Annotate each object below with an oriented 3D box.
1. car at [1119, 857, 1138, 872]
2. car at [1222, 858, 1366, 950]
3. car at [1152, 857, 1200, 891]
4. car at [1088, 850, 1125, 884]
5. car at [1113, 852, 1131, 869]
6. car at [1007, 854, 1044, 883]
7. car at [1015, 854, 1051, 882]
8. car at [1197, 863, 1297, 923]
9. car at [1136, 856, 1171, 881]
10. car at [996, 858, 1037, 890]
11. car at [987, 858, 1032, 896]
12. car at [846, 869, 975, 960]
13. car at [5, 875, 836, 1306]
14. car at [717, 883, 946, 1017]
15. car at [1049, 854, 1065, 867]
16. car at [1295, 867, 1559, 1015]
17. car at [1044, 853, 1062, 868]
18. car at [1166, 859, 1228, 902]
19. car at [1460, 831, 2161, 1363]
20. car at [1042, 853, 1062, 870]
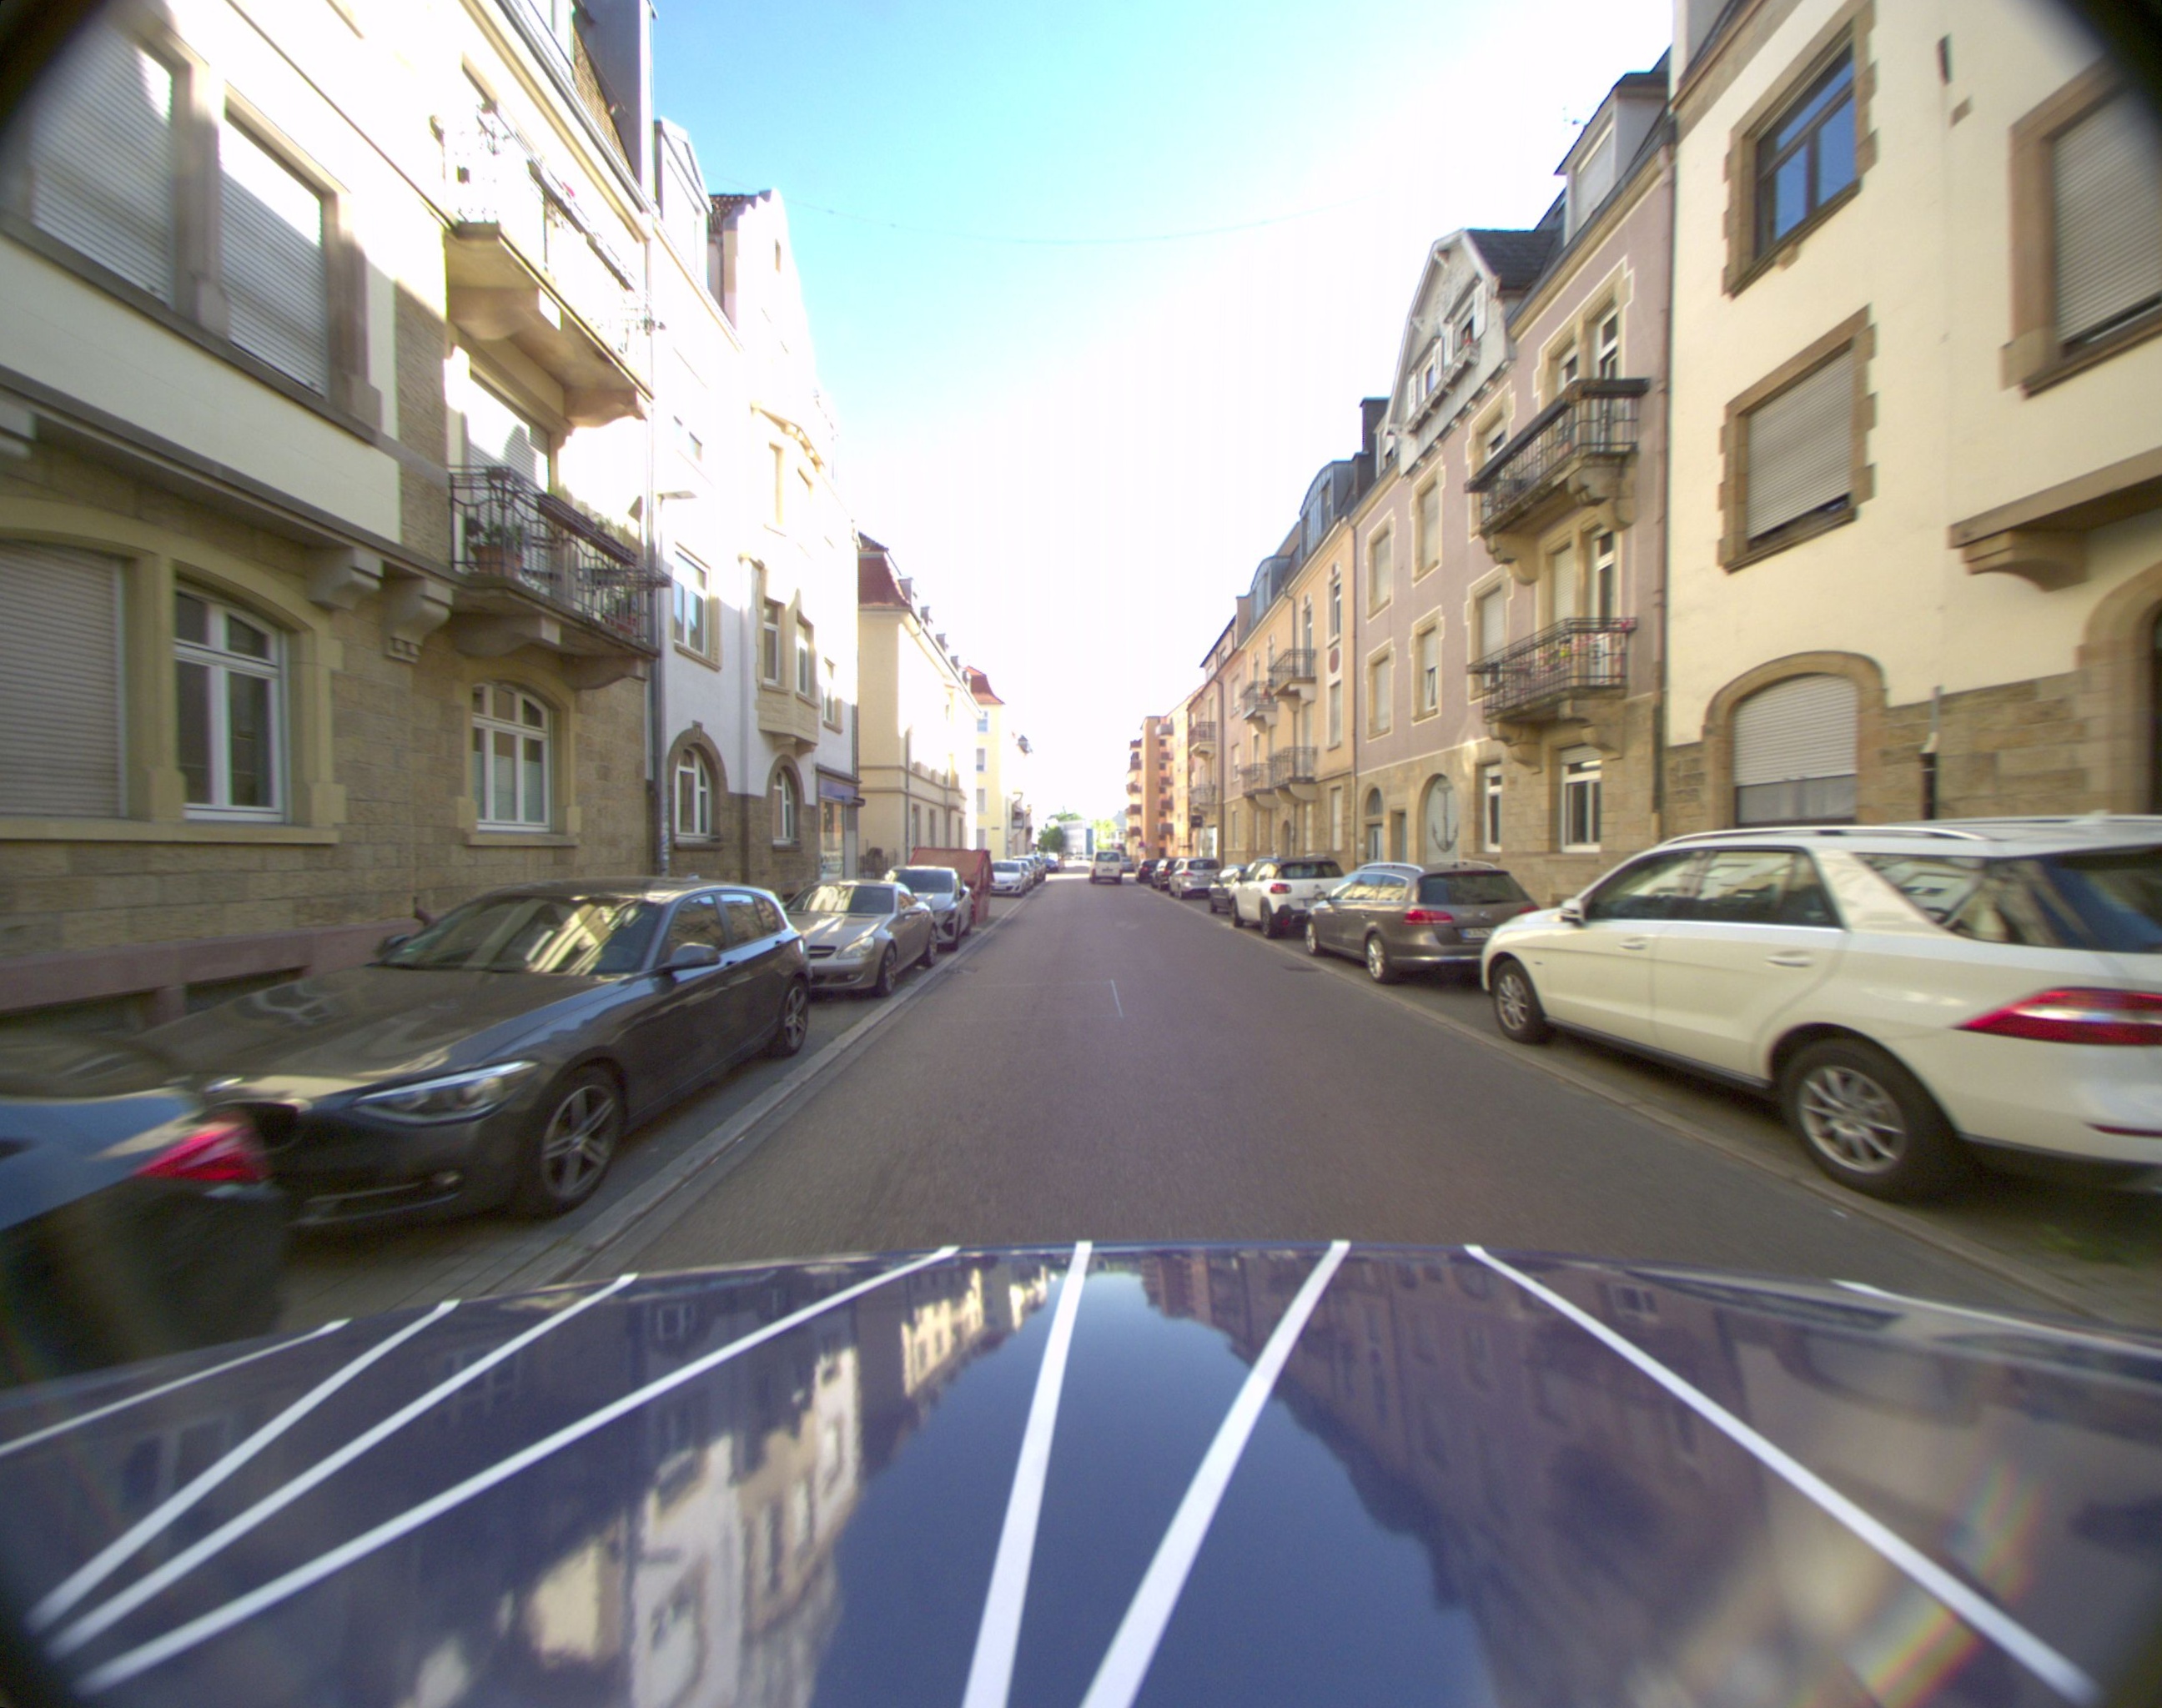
[{"bbox_3d":[4.649,1.017,74.881,1.678,1.414,3.500,0,0,0],"label":"car"},{"bbox_3d":[4.293,0.930,16.009,1.719,1.574,4.020,-3,0,-2],"label":"car"},{"bbox_3d":[4.485,0.904,36.281,1.719,1.512,4.109,0,0,-1],"label":"car"},{"bbox_3d":[1.467,0.731,45.497,1.868,1.925,4.598,0,0,-3],"label":"car"},{"bbox_3d":[4.588,0.754,85.991,1.822,1.867,4.111,0,0,0],"label":"car"},{"bbox_3d":[-3.112,0.802,43.043,1.684,1.537,3.915,1,0,2],"label":"car"},{"bbox_3d":[-2.955,0.852,47.475,1.791,1.655,4.434,0,0,2],"label":"car"},{"bbox_3d":[4.519,1.014,21.162,1.677,1.385,3.665,-3,0,-4],"label":"car"},{"bbox_3d":[4.405,0.859,46.569,1.719,1.378,3.864,-3,0,1],"label":"car"},{"bbox_3d":[-3.072,0.917,36.973,1.657,1.455,4.094,0,0,0],"label":"car"},{"bbox_3d":[-2.921,0.908,31.584,1.590,1.456,3.711,0,0,-2],"label":"car"},{"bbox_3d":[-3.073,1.031,14.424,1.791,1.421,3.806,0,0,-3],"label":"car"},{"bbox_3d":[-3.065,0.919,4.876,1.655,1.434,4.258,1,0,-1],"label":"car"},{"bbox_3d":[-3.006,1.097,10.053,1.697,1.247,3.941,1,0,1],"label":"car"},{"bbox_3d":[-2.646,0.738,83.660,1.708,1.417,3.721,0,0,-2],"label":"car"},{"bbox_3d":[4.380,0.985,10.421,1.578,1.478,4.279,-2,0,-1],"label":"car"},{"bbox_3d":[-2.808,0.647,77.311,1.708,1.417,3.721,1,1,0],"label":"car"},{"bbox_3d":[4.456,0.967,29.683,1.719,1.529,3.723,-1,0,-2],"label":"car"},{"bbox_3d":[4.497,0.789,4.719,1.897,1.712,4.726,-3,0,0],"label":"car"},{"bbox_3d":[-2.712,0.675,71.846,1.708,1.417,3.721,1,1,0],"label":"car"}]
